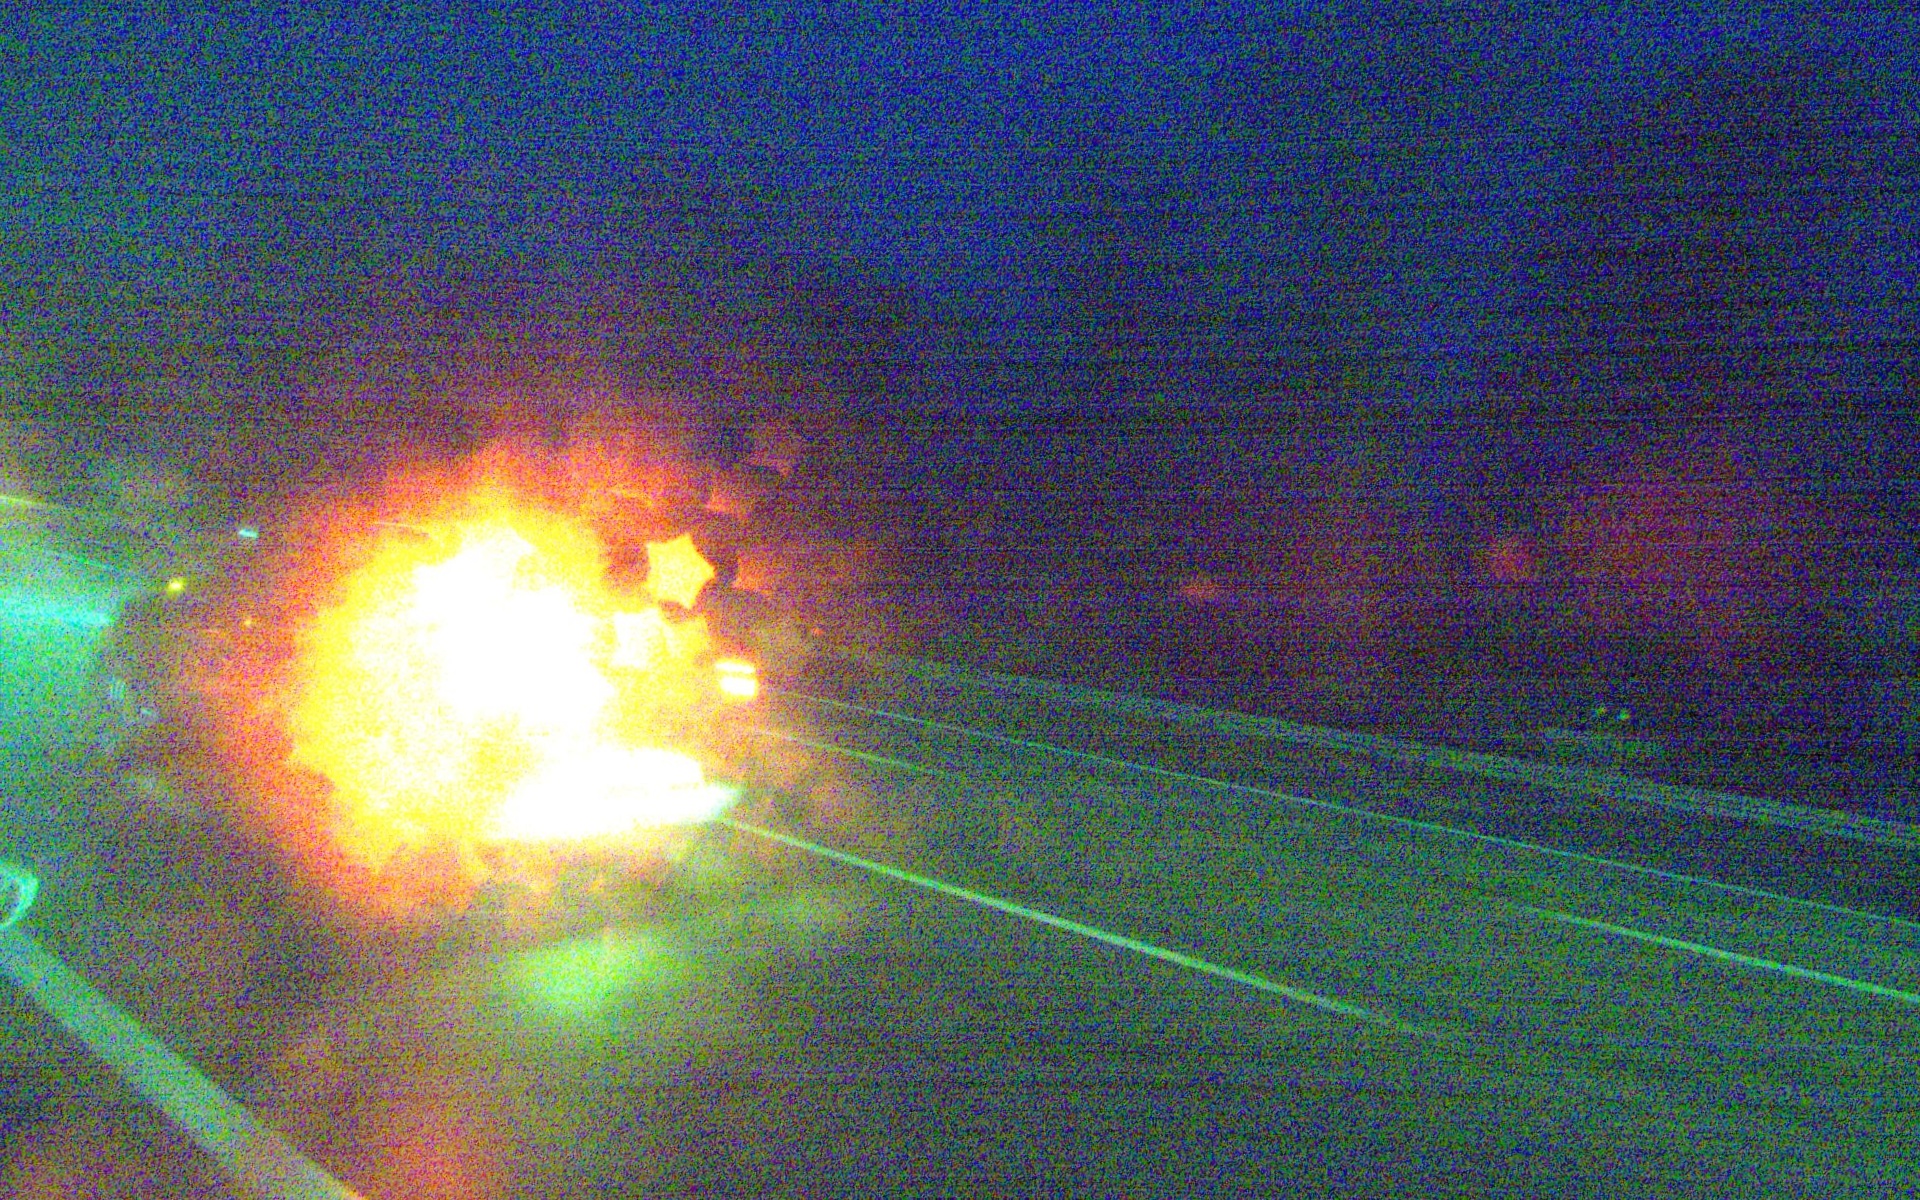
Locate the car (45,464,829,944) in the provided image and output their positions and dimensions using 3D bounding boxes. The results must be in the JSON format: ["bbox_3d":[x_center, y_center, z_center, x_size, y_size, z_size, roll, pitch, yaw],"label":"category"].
[{"bbox_3d":[-2.925,0.325,5.457,3.934,1.607,1.888,7,-1,32],"label":"car"}]
